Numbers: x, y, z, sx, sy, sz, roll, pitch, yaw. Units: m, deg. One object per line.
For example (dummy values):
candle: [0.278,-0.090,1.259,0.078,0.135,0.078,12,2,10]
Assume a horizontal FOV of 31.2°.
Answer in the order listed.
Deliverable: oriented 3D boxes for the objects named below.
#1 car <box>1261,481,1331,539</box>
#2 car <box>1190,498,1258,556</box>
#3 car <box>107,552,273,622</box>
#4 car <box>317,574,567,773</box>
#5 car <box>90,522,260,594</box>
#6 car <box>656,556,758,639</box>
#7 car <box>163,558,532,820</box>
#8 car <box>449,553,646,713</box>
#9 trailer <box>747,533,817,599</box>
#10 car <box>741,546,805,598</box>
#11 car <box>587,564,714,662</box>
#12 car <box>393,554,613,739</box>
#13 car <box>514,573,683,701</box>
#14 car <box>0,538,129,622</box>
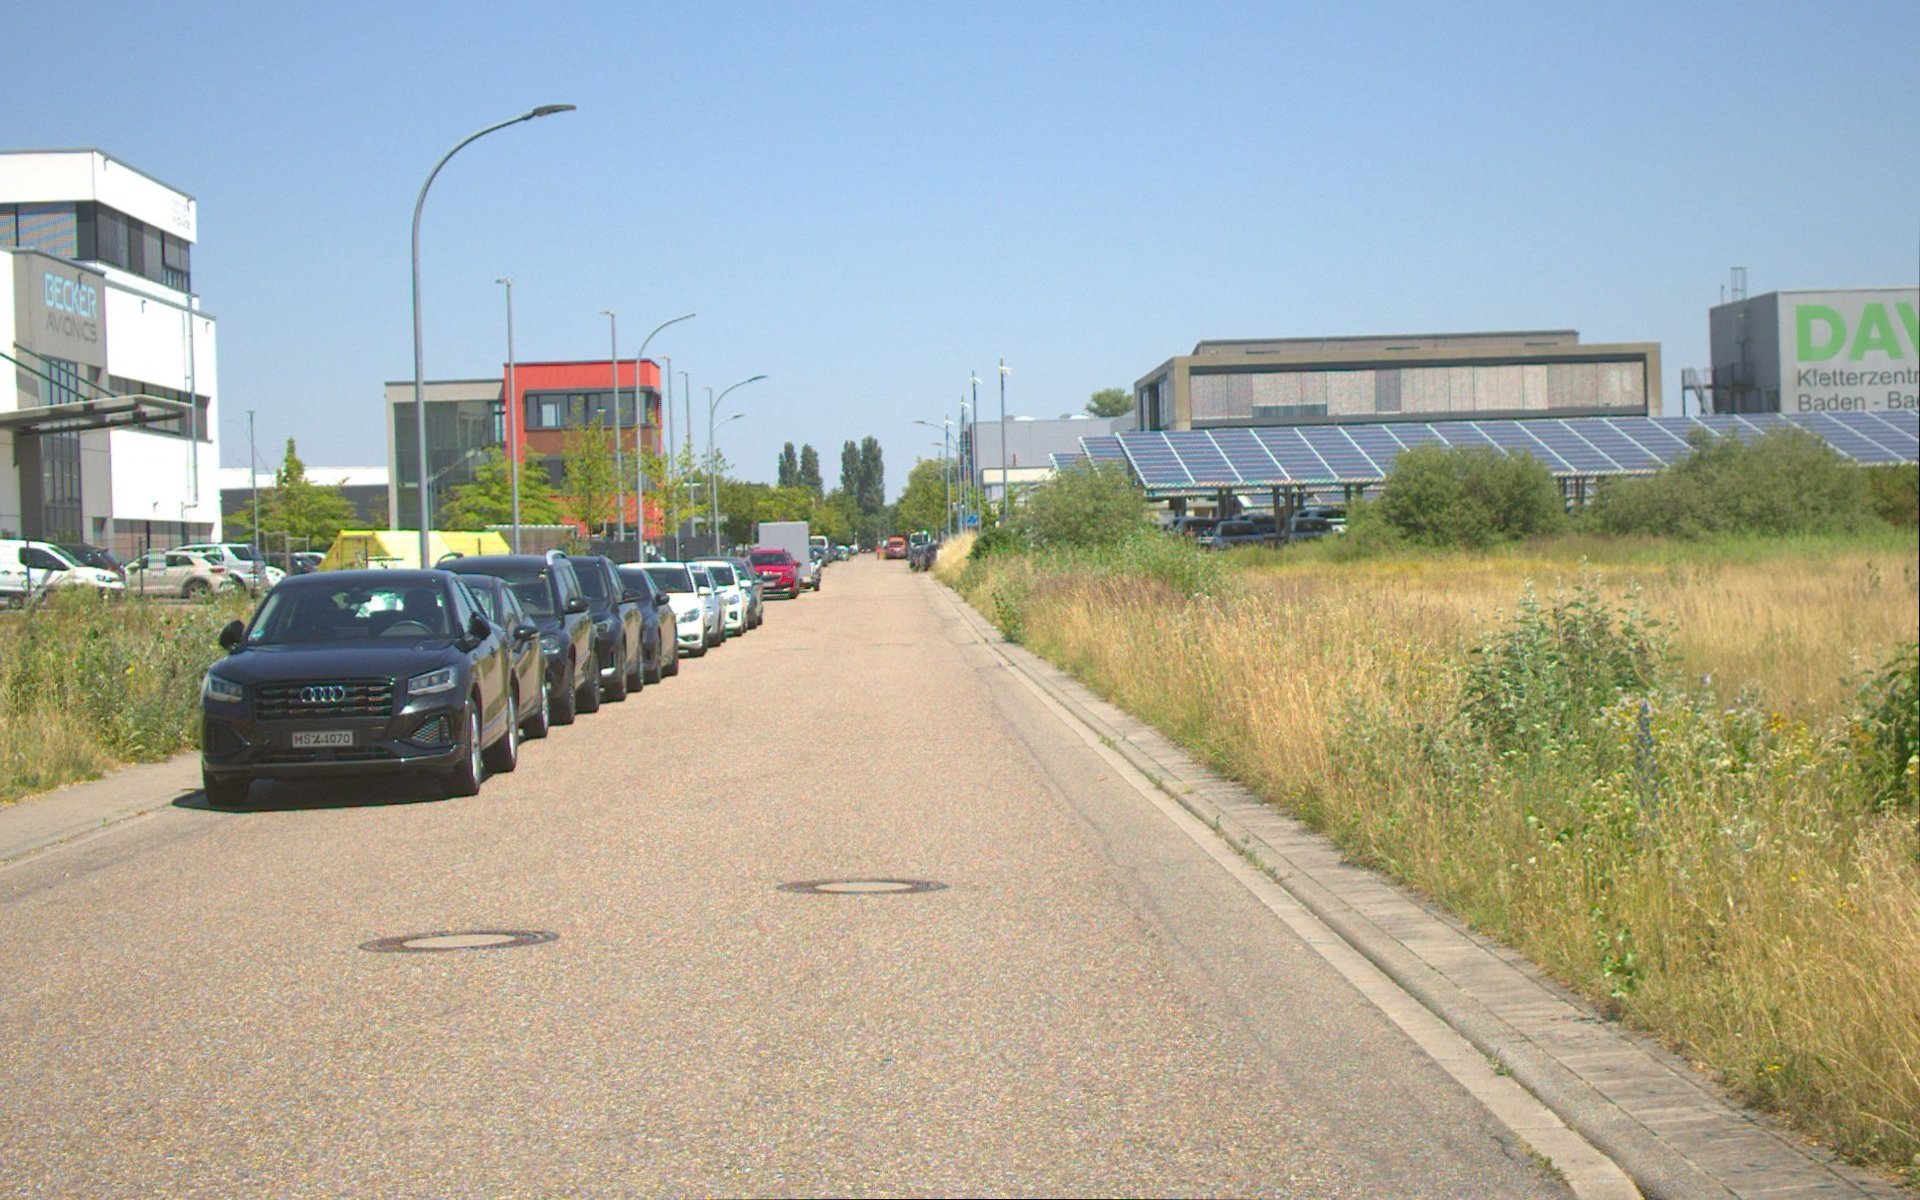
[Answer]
car: [12.238,-3.262,125.413,1.993,2.007,4.000,-2,1,-1]
car: [9.619,-2.638,125.468,1.993,2.007,4.000,-2,1,-1]
car: [-23.298,-0.393,104.103,4.528,1.936,2.031,-2,1,0]
car: [-4.367,0.575,29.455,1.590,1.487,3.833,-2,1,-1]
car: [-23.180,-1.234,101.626,4.528,1.936,2.031,-2,1,0]
car: [-5.022,-0.069,68.657,1.787,1.515,3.983,-2,1,-1]
car: [-4.144,0.540,23.912,1.926,1.562,4.190,-2,1,-2]
car: [-4.713,0.328,39.816,1.768,1.657,4.552,-2,1,-1]
trailer: [-6.080,-1.182,117.677,2.201,2.130,4.286,-2,1,-1]
car: [-5.772,-0.867,106.249,1.787,1.515,3.983,-2,1,-1]
car: [-5.112,0.184,57.214,1.786,1.515,3.983,-2,1,-1]
car: [-4.522,0.408,34.524,1.677,1.657,4.236,-2,1,-1]
car: [-4.735,0.445,45.670,1.768,1.480,5.015,-2,1,-1]
car: [-22.867,-0.466,84.084,4.528,1.936,2.031,-2,1,0]
